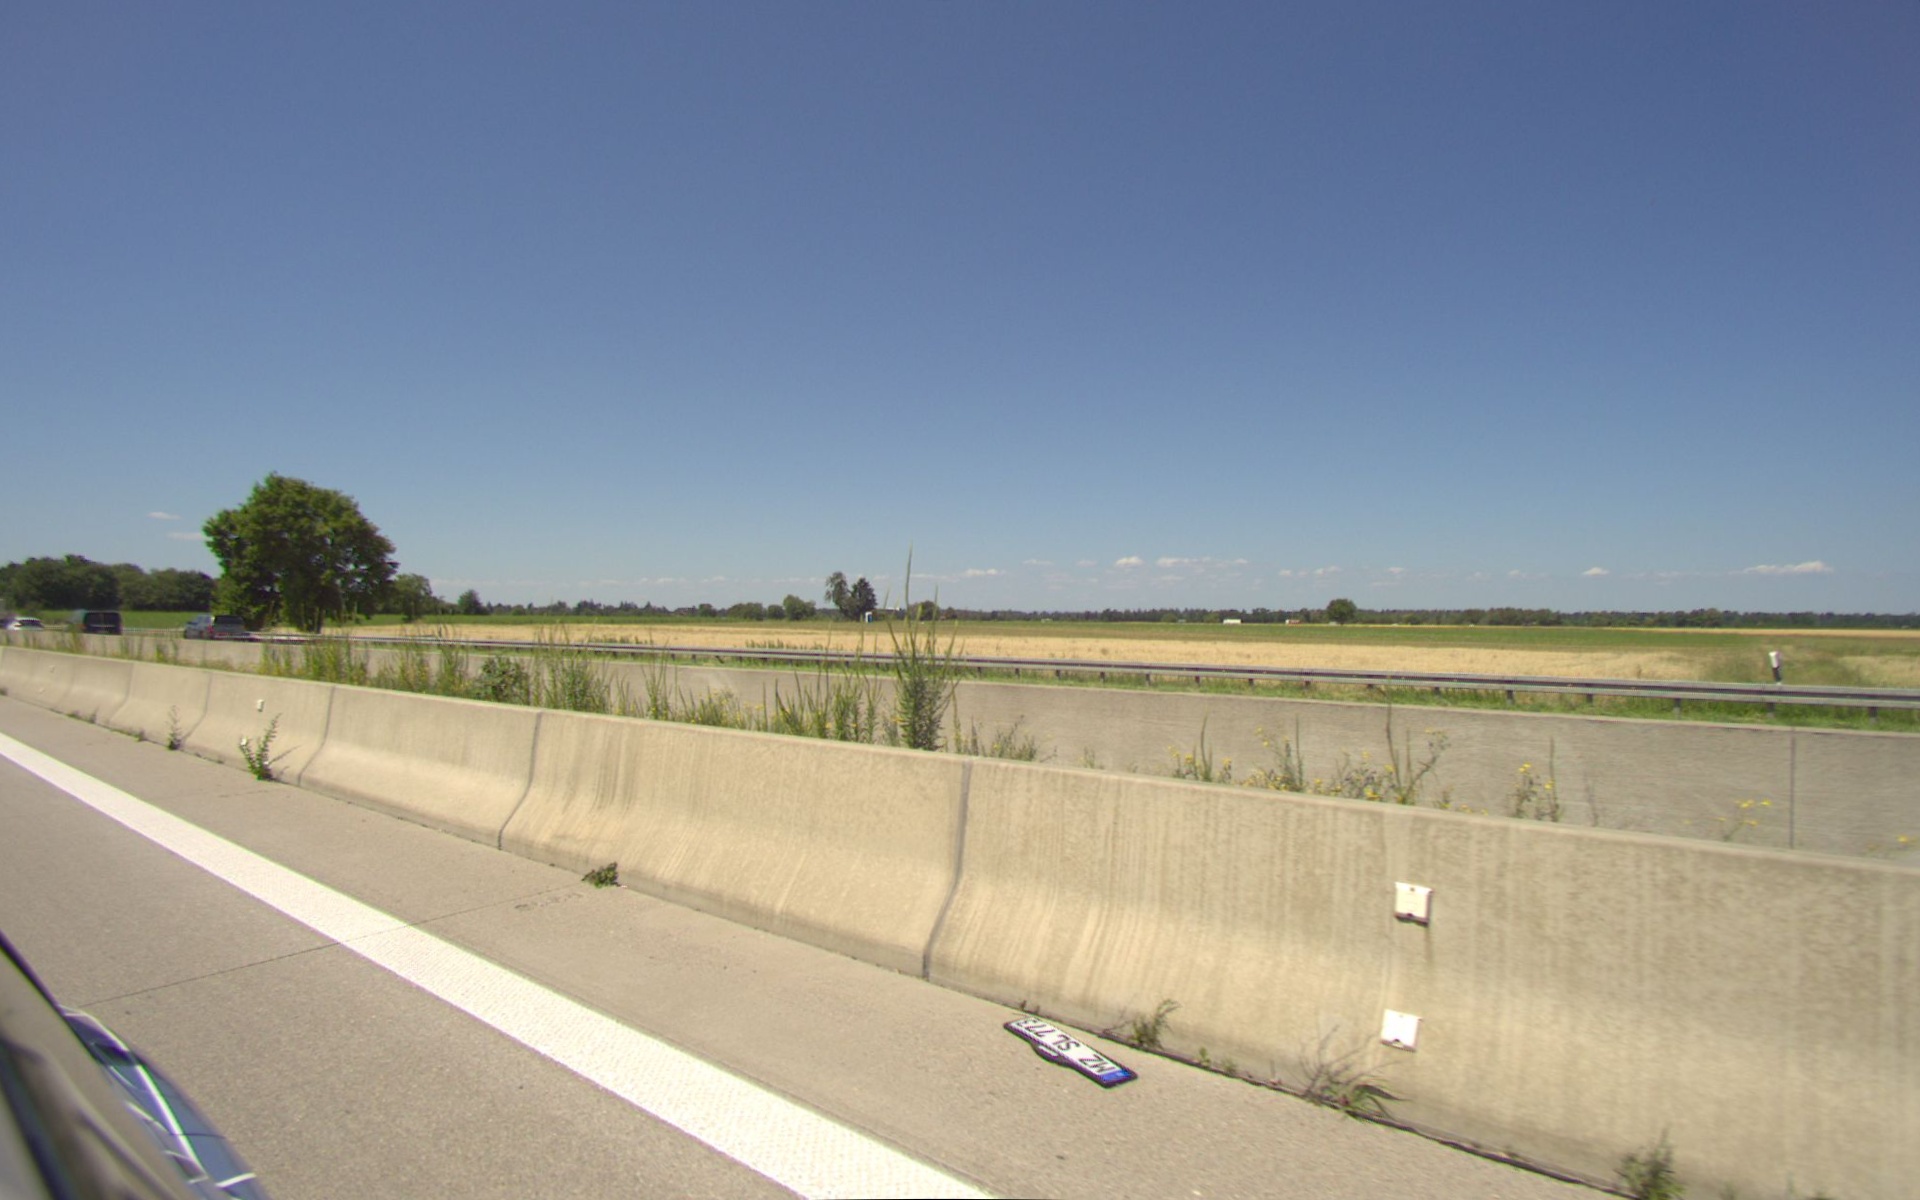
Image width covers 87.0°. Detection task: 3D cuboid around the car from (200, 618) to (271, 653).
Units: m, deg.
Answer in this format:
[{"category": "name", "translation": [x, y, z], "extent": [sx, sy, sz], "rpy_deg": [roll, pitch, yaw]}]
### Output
[{"category": "car", "translation": [-38.405, 1.855, 53.614], "extent": [4.295, 1.730, 1.974], "rpy_deg": [-1, 0, 38]}]

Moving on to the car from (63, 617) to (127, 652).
[{"category": "car", "translation": [-49.193, 1.920, 57.516], "extent": [5.181, 1.892, 1.973], "rpy_deg": [-1, 0, 41]}]

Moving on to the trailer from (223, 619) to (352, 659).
[{"category": "trailer", "translation": [-32.932, 1.859, 49.319], "extent": [10.533, 1.759, 2.215], "rpy_deg": [-1, -2, 39]}]

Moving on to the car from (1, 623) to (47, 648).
[{"category": "car", "translation": [-68.131, 2.552, 73.656], "extent": [4.610, 1.730, 1.973], "rpy_deg": [-1, 0, 41]}]

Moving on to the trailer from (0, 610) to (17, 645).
[{"category": "trailer", "translation": [-106.868, 3.012, 111.437], "extent": [13.737, 3.711, 2.775], "rpy_deg": [-1, 0, 40]}]

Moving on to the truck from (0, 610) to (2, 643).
[{"category": "truck", "translation": [-111.908, 3.106, 115.613], "extent": [7.229, 3.715, 2.775], "rpy_deg": [-1, 0, 40]}]
